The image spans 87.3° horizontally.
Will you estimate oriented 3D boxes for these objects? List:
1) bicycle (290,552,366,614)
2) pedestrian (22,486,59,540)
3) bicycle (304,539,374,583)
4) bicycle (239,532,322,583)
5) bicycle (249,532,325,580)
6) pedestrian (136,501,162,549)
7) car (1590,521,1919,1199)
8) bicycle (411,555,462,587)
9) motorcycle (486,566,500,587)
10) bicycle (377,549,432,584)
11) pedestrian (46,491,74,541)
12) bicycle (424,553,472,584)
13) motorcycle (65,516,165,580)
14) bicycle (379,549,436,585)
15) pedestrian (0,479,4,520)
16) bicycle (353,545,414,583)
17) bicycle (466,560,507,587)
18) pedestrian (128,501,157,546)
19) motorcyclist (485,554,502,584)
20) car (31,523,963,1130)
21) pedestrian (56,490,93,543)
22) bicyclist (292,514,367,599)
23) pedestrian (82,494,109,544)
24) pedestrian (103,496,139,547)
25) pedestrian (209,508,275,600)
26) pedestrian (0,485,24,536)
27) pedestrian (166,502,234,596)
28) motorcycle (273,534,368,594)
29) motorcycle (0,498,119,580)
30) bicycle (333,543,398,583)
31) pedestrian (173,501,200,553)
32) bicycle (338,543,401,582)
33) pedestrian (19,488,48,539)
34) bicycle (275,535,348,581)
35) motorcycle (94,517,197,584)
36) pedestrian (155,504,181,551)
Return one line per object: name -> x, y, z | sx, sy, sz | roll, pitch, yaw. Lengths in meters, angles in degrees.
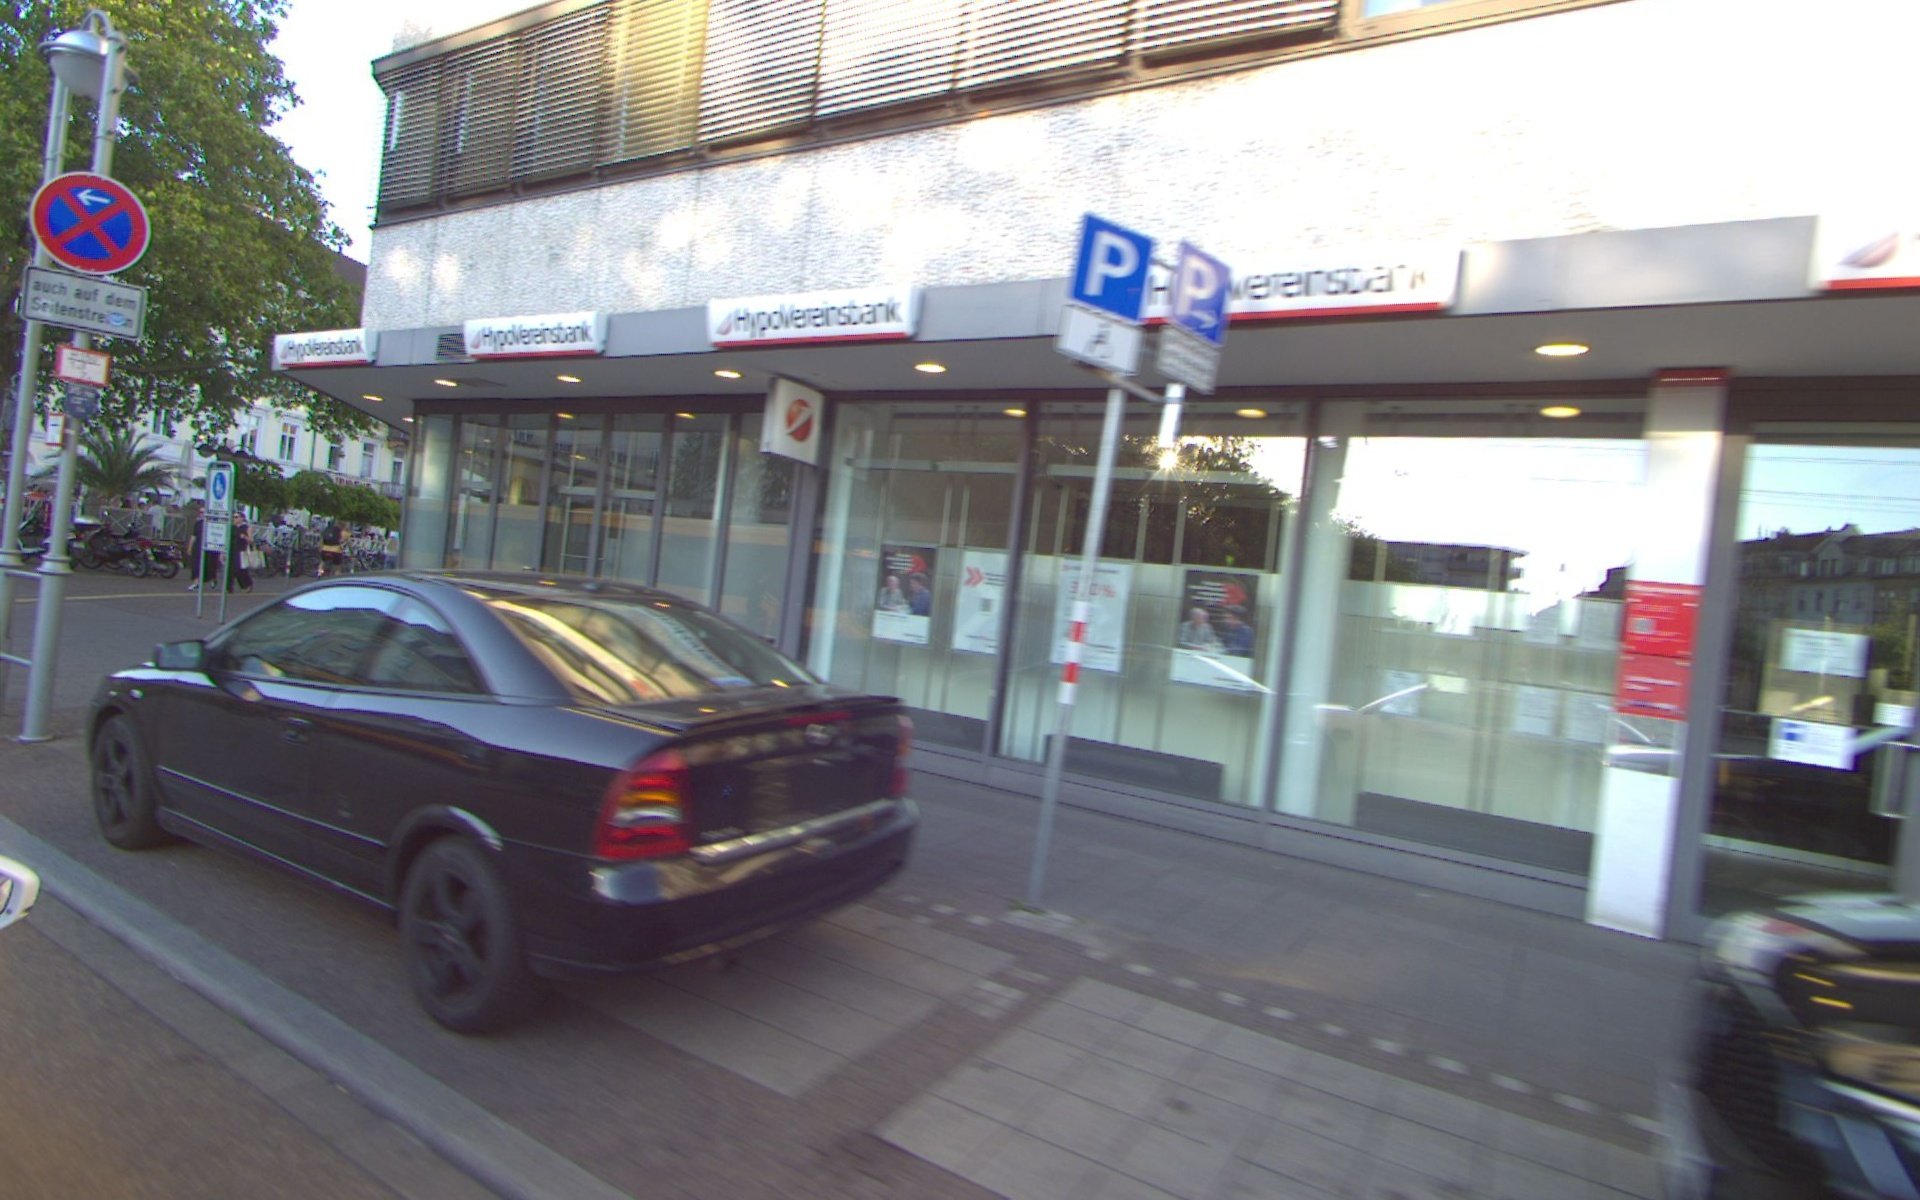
bicycle -> -13.853, -0.346, 22.117 | 0.641, 1.226, 2.192 | 7, -2, -14
pedestrian -> -23.959, -2.258, 26.221 | 0.642, 1.300, 0.732 | 5, -1, -42
bicycle -> -22.524, -1.413, 36.483 | 2.080, 1.307, 0.442 | 8, 1, -4
bicycle -> -21.318, -1.330, 31.580 | 2.080, 1.307, 0.442 | 8, 1, -4
bicycle -> -22.732, -1.475, 33.981 | 2.080, 1.308, 0.441 | 8, 2, -4
pedestrian -> -23.029, -2.115, 28.566 | 0.472, 1.301, 0.534 | 5, 0, -42
car -> 3.508, 0.978, 1.166 | 4.501, 1.558, 1.778 | 8, 1, 31
bicycle -> -25.853, -1.429, 49.746 | 2.090, 1.307, 0.440 | 7, 0, -24
motorcycle -> -24.232, -1.222, 52.206 | 0.346, 1.046, 1.570 | 5, -1, -34
bicycle -> -25.474, -1.538, 46.160 | 2.090, 1.308, 0.439 | 8, 2, -24
pedestrian -> -24.612, -2.296, 27.514 | 0.472, 1.301, 0.534 | 5, 0, -42
bicycle -> -26.794, -1.646, 52.692 | 2.090, 1.307, 0.440 | 7, 0, -24
motorcycle -> -19.174, -1.181, 22.829 | 1.763, 1.164, 0.553 | 8, 0, 5
bicycle -> -24.749, -1.473, 45.099 | 2.090, 1.307, 0.440 | 7, 0, -24
pedestrian -> -35.683, -3.640, 36.809 | 0.648, 1.663, 0.758 | 5, 0, 32
bicycle -> -24.706, -1.544, 43.131 | 2.090, 1.307, 0.439 | 8, 0, -24
bicycle -> -28.058, -1.564, 59.616 | 2.090, 1.307, 0.440 | 7, 0, -24
pedestrian -> -25.207, -2.359, 31.028 | 0.469, 1.301, 0.537 | 5, 0, 41
motorcyclist -> -24.213, -1.603, 52.210 | 0.593, 1.458, 0.598 | 6, -1, -34
car -> -2.273, 0.531, 4.477 | 4.269, 1.399, 1.655 | 6, 3, 32
pedestrian -> -23.432, -2.202, 26.629 | 0.642, 1.300, 0.732 | 5, -1, -42
bicyclist -> -13.764, -0.919, 21.995 | 0.977, 1.671, 0.997 | 6, -2, -14
pedestrian -> -23.917, -2.228, 27.830 | 0.472, 1.301, 0.534 | 5, 0, -42
pedestrian -> -22.983, -2.136, 27.561 | 0.642, 1.300, 0.732 | 5, -1, -42
pedestrian -> -14.514, -0.915, 20.347 | 0.647, 1.745, 0.823 | 5, 0, -6
pedestrian -> -25.699, -2.405, 27.196 | 0.472, 1.301, 0.534 | 5, 0, -42
pedestrian -> -15.249, -1.006, 20.203 | 0.647, 1.762, 0.823 | 5, 0, -7
motorcycle -> -16.645, -0.939, 26.221 | 1.923, 1.297, 0.562 | 7, 0, -6
motorcycle -> -19.618, -1.315, 21.811 | 2.253, 1.440, 0.566 | 8, 0, 5
bicycle -> -23.662, -1.464, 40.067 | 2.090, 1.307, 0.440 | 8, -1, -24
pedestrian -> -22.338, -2.095, 29.054 | 0.472, 1.417, 0.534 | 5, 0, -42
bicycle -> -24.125, -1.516, 41.132 | 2.090, 1.307, 0.440 | 8, 0, -24
pedestrian -> -25.186, -2.348, 27.349 | 0.475, 1.301, 0.519 | 5, 0, -41
bicycle -> -22.603, -1.456, 35.082 | 2.080, 1.308, 0.442 | 8, 2, -4
motorcycle -> -19.108, -1.153, 23.614 | 1.920, 1.297, 0.563 | 7, 0, 5
pedestrian -> -23.198, -2.116, 29.468 | 0.472, 1.301, 0.534 | 5, 0, -42
